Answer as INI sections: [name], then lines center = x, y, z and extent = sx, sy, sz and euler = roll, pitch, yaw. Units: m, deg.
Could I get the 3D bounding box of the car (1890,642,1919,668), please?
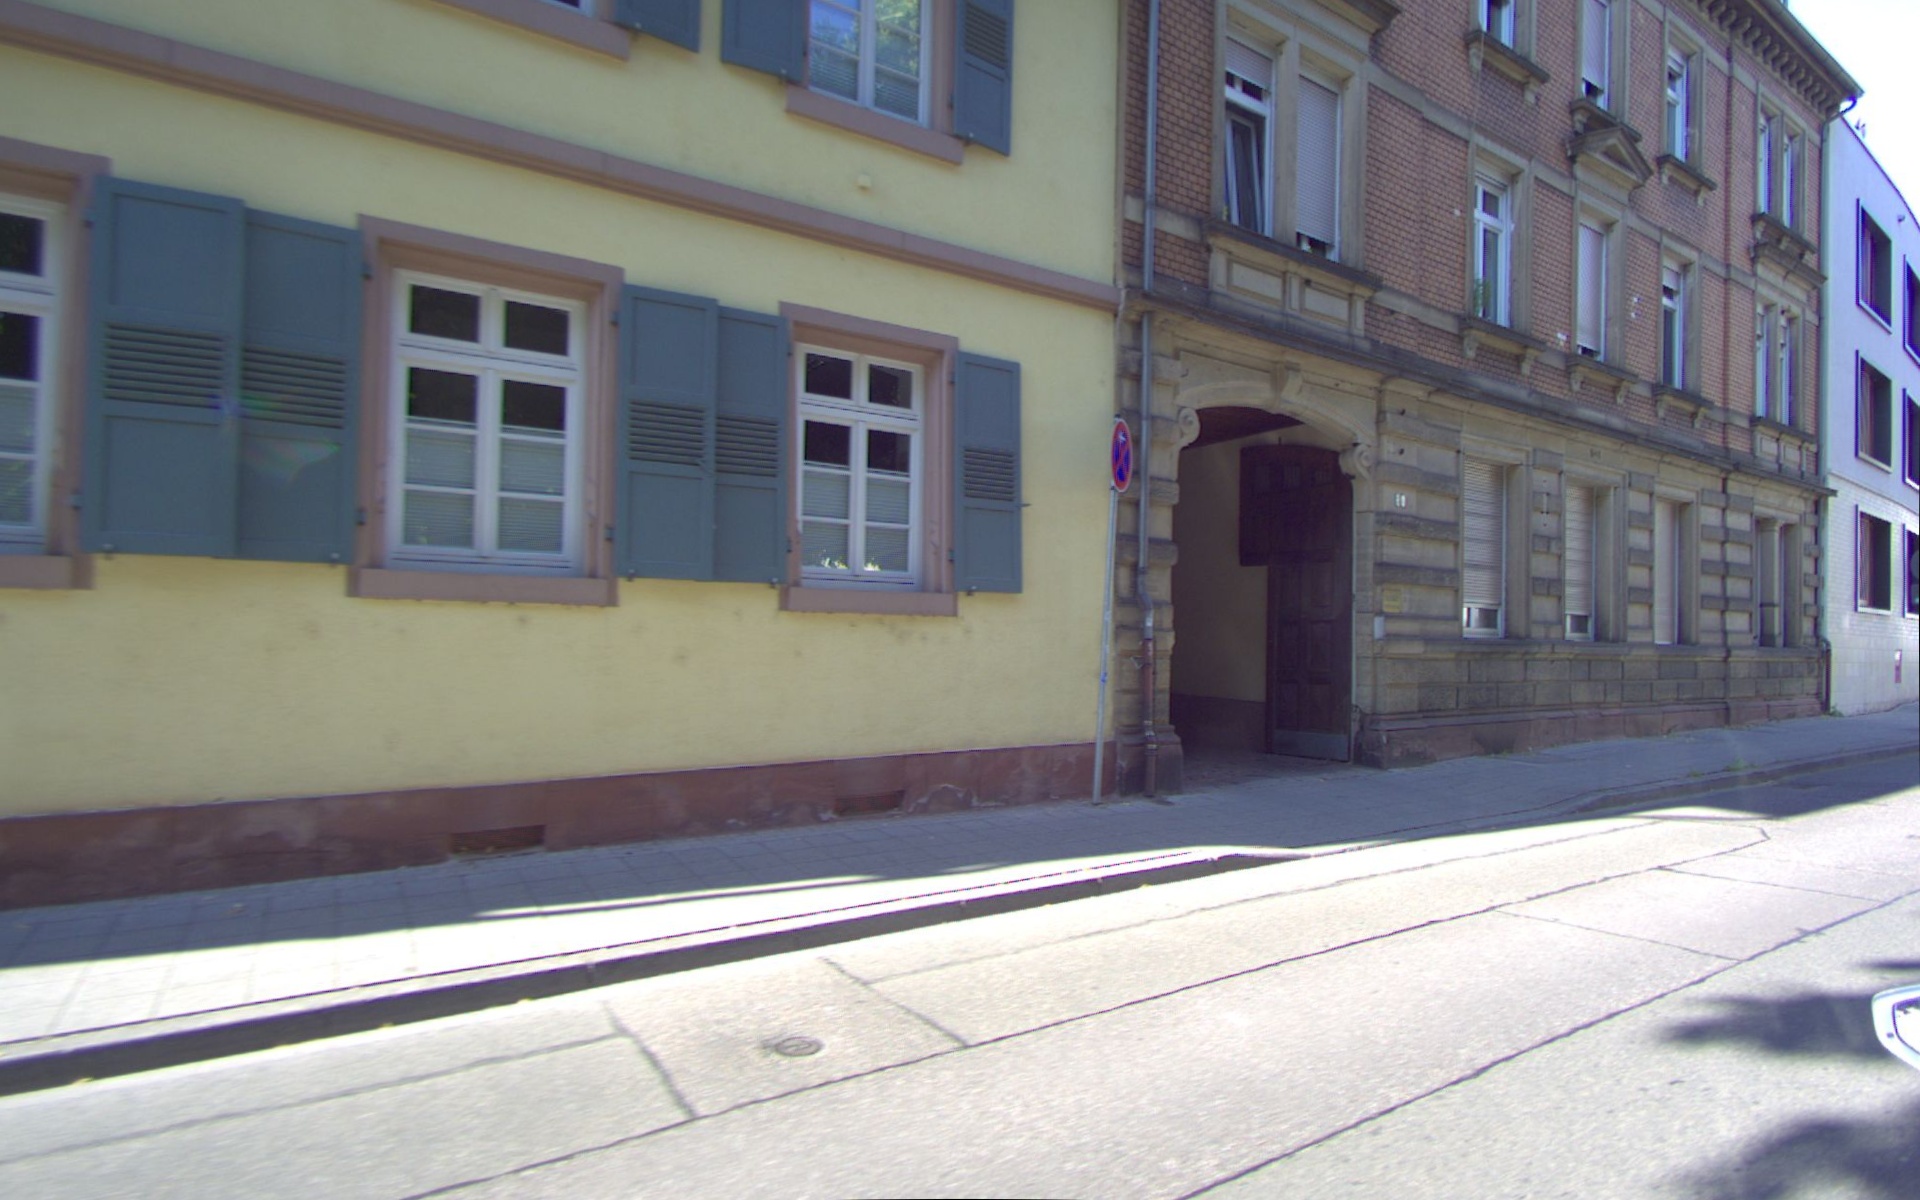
[car]
center = 56.774, 3.233, 59.248
extent = 1.930, 1.525, 3.679
euler = -1, -2, 29
